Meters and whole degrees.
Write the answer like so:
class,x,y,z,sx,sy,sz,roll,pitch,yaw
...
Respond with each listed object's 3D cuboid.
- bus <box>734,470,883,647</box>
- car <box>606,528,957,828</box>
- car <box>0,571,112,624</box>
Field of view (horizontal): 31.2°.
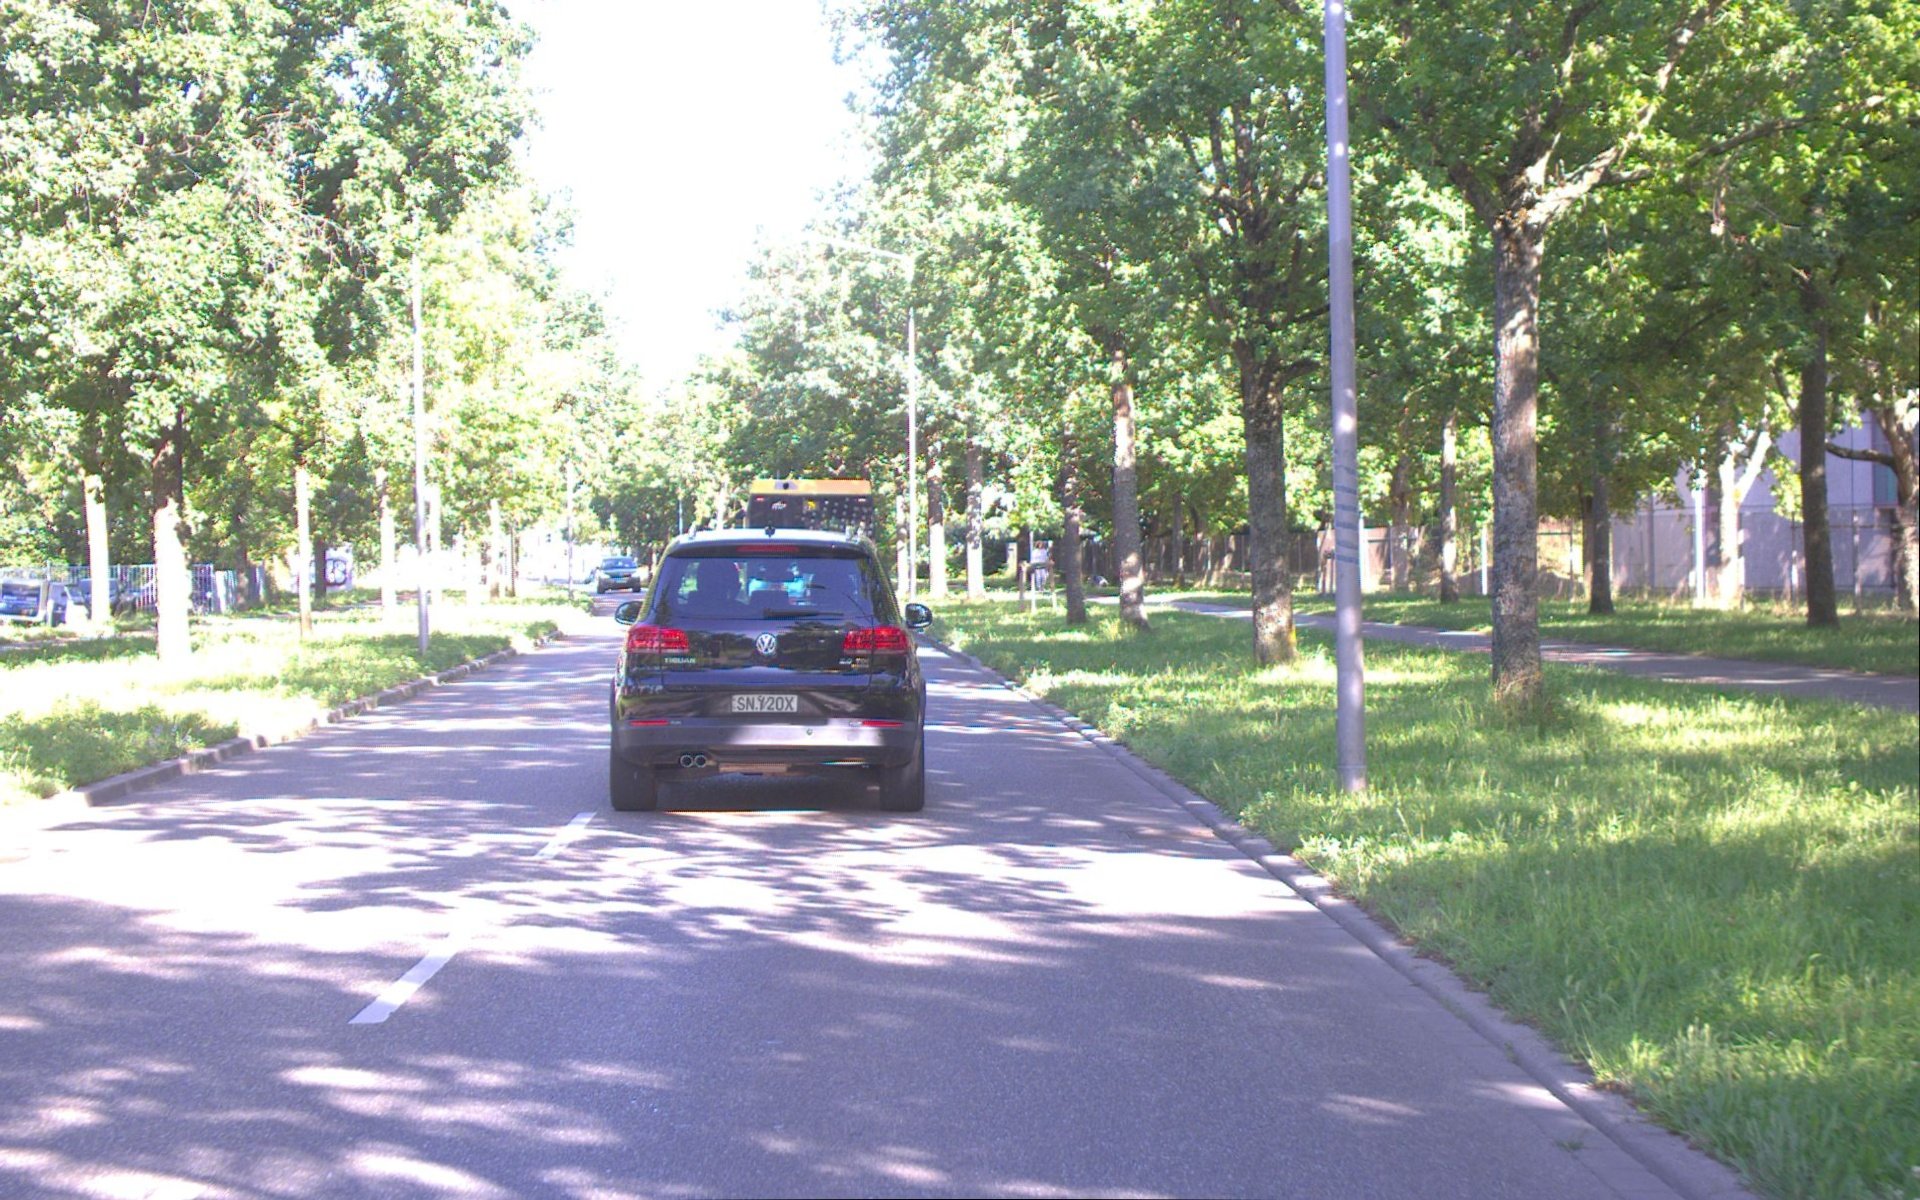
class,x,y,z,sx,sy,sz,roll,pitch,yaw
bus,-3.100,-0.908,73.247,2.764,3.445,11.211,-1,1,-1
car,-1.048,0.391,21.343,1.936,1.650,4.427,1,1,-1
car,-24.428,-0.061,89.436,4.199,1.317,1.941,-1,1,4
